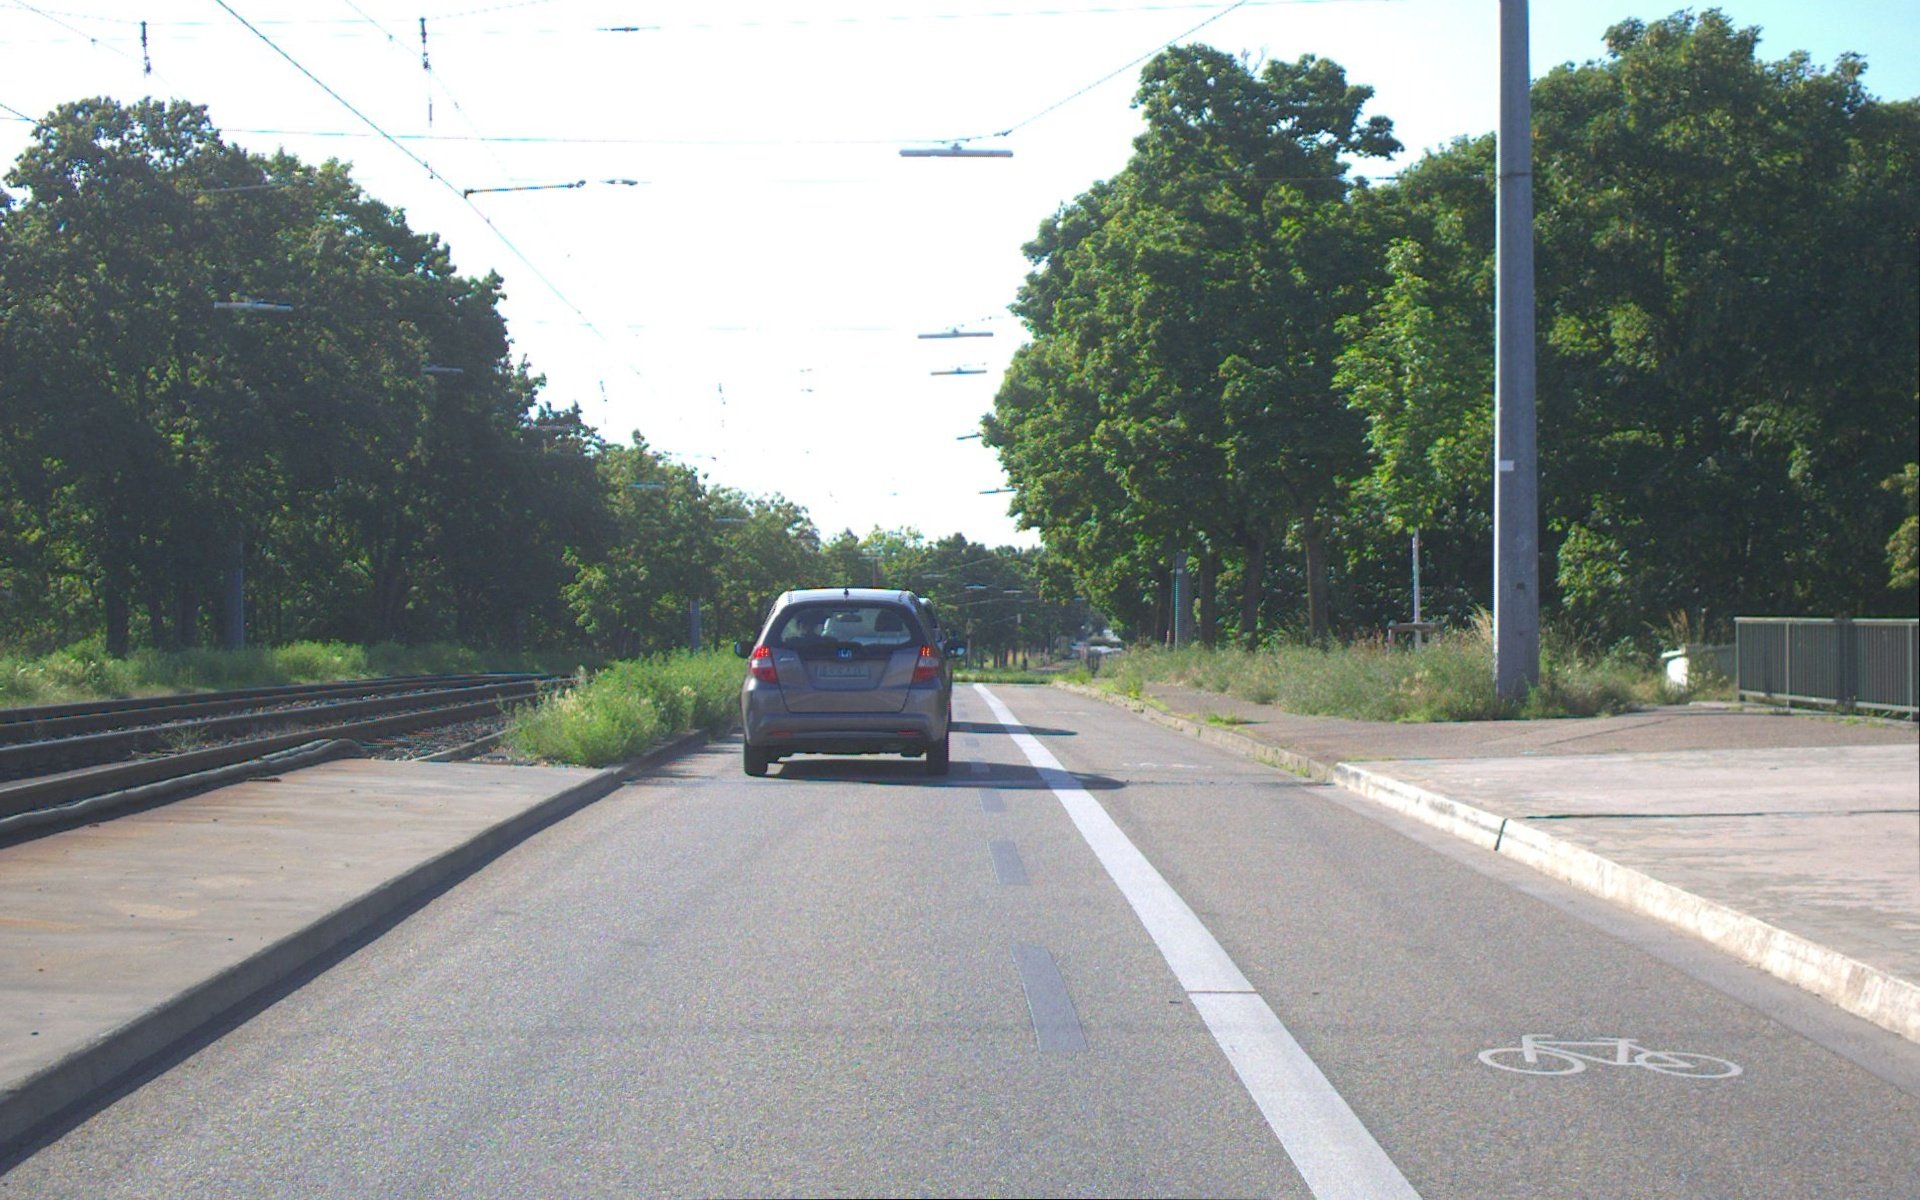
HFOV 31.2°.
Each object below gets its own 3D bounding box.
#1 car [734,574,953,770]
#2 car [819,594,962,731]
[{"bbox_3d":[-0.923,0.597,29.013,1.670,1.502,3.810,1,-1,0],"label":"car"},{"bbox_3d":[-0.832,0.746,43.033,1.654,1.502,3.811,1,1,0],"label":"car"}]
